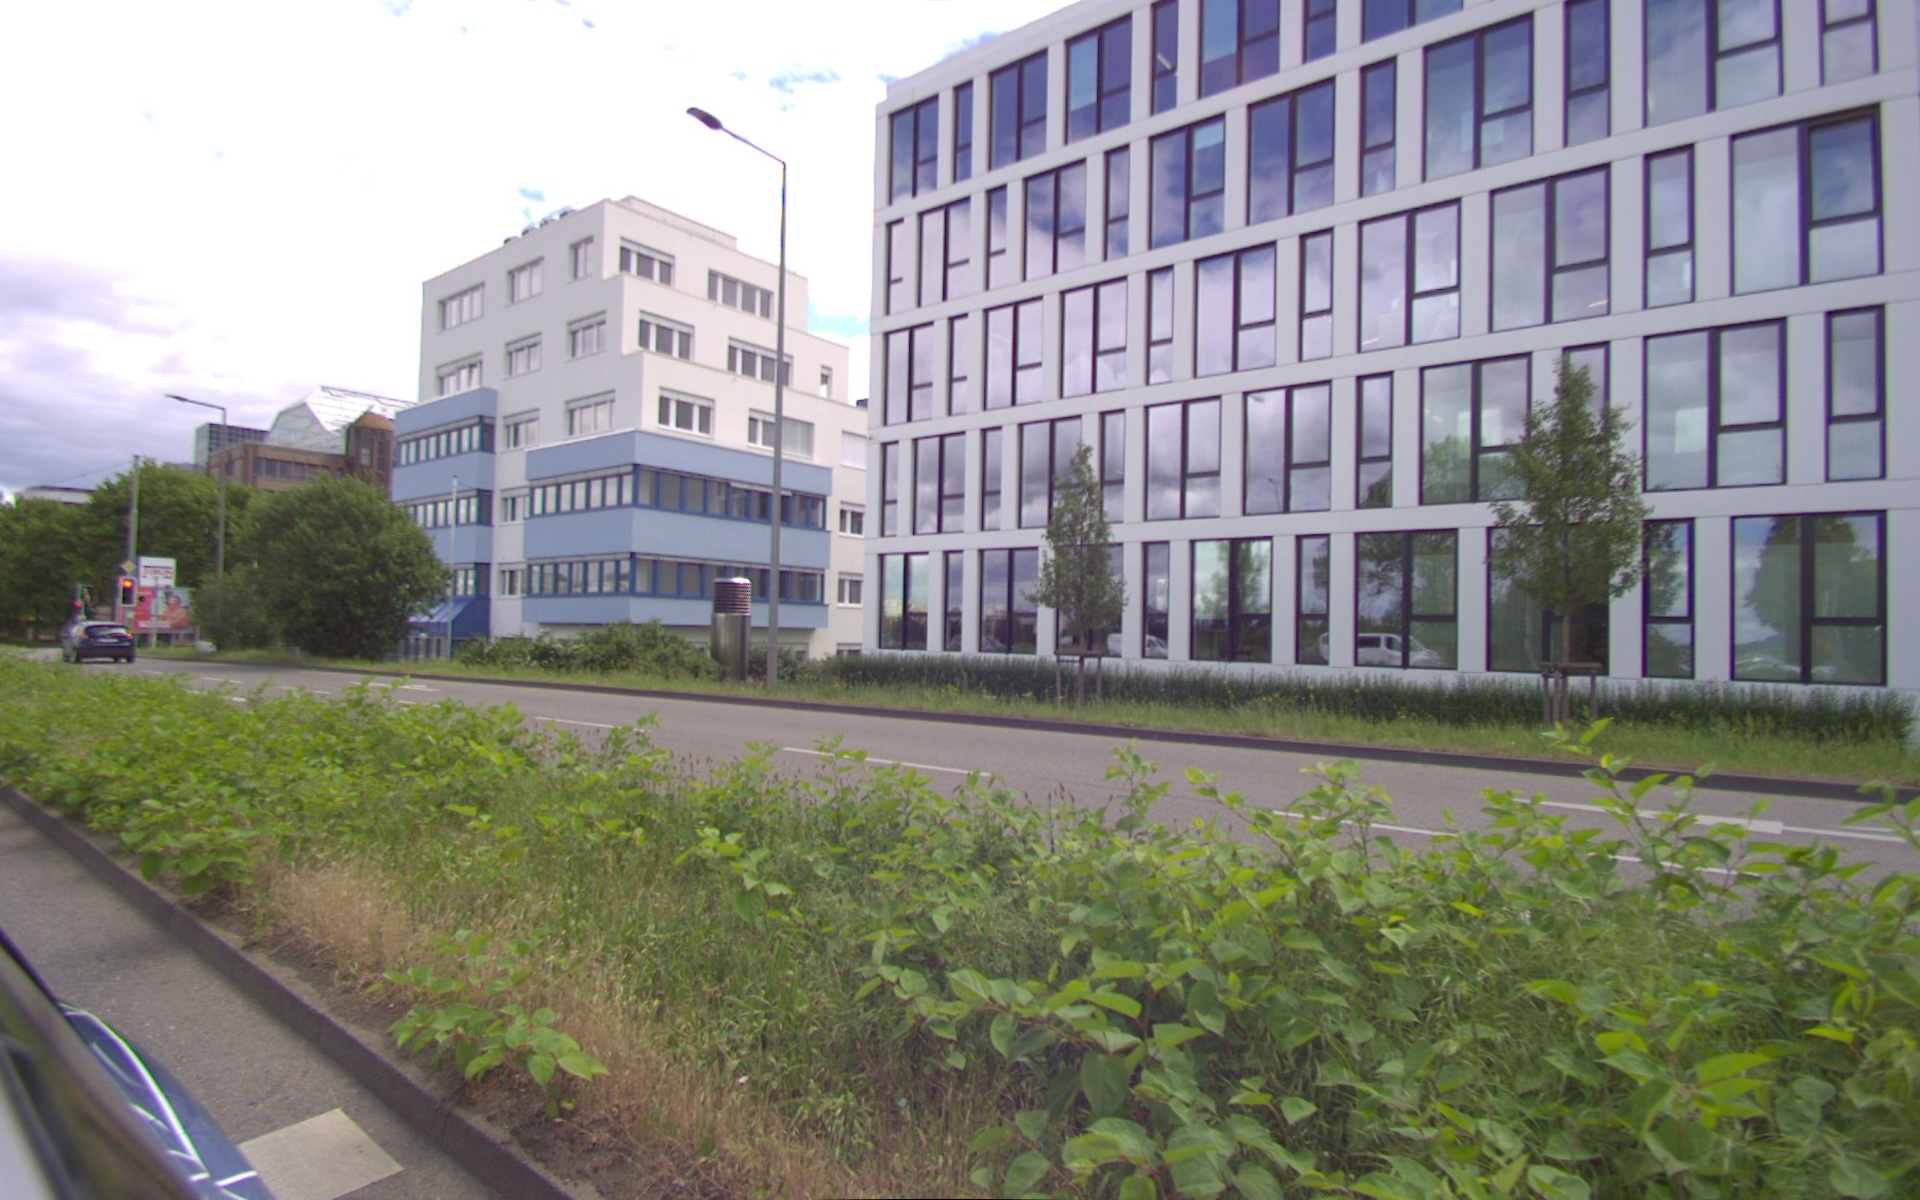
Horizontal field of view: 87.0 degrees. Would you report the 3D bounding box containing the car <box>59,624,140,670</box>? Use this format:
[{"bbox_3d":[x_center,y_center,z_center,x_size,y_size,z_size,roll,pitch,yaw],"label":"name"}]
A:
[{"bbox_3d":[-30.790,1.633,36.178,3.891,1.457,1.735,-1,0,42],"label":"car"}]
